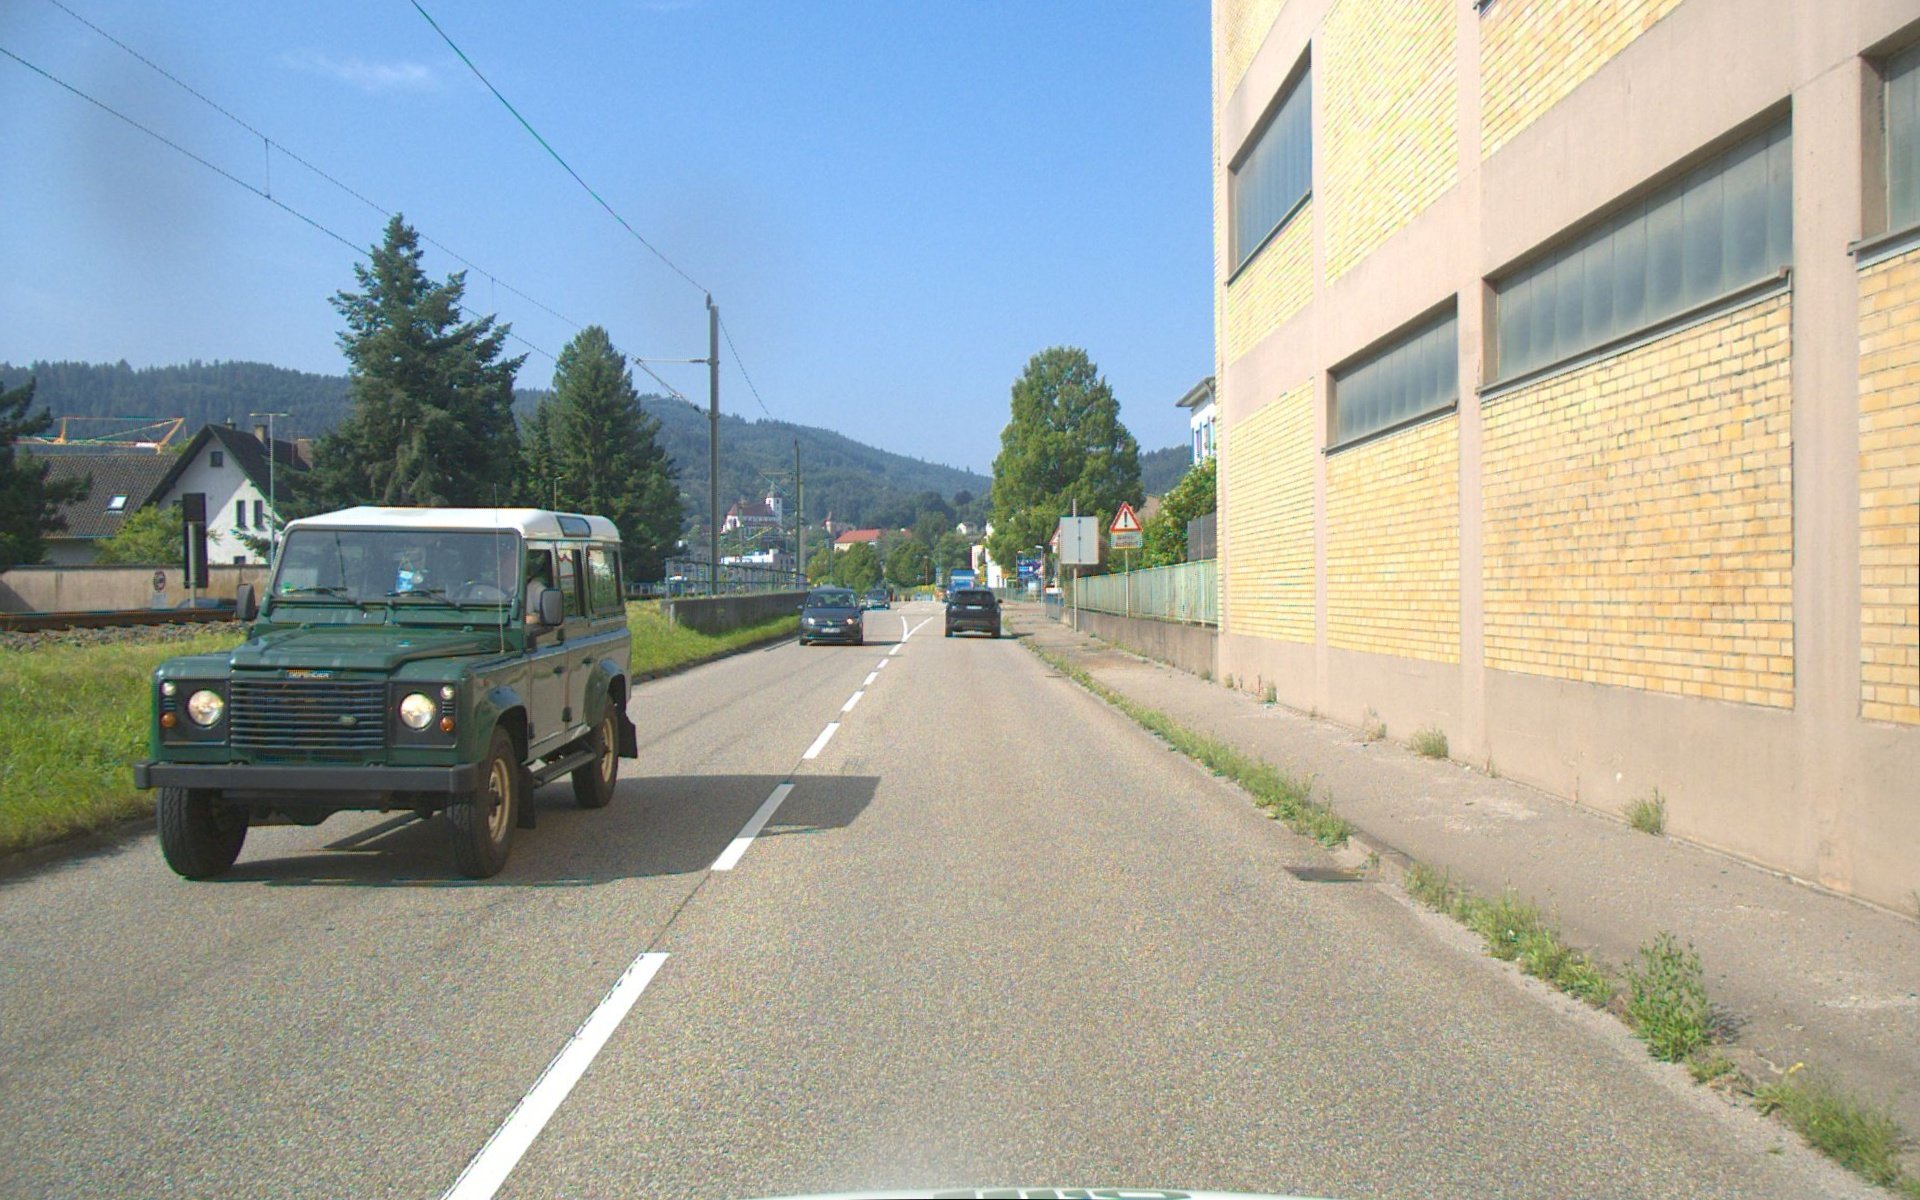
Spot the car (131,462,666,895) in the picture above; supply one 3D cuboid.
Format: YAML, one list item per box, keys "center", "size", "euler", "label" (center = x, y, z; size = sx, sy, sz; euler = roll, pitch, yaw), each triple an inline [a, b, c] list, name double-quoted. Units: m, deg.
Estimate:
- center: [-3.196, 0.373, 10.567]
  size: [1.722, 2.114, 4.808]
  euler: [1, 0, 0]
  label: "car"

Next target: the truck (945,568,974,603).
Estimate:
- center: [-0.100, -1.304, 146.694]
  size: [2.266, 3.022, 5.962]
  euler: [0, 1, -3]
  label: "truck"

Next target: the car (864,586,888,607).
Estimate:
- center: [-6.295, -0.286, 124.487]
  size: [1.706, 1.533, 4.198]
  euler: [0, 0, -2]
  label: "car"

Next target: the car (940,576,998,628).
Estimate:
- center: [0.345, 0.049, 55.555]
  size: [1.880, 1.668, 4.001]
  euler: [0, 0, 1]
  label: "car"

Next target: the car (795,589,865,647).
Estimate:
- center: [-3.625, 0.467, 46.685]
  size: [1.696, 1.552, 4.092]
  euler: [0, 0, -1]
  label: "car"
